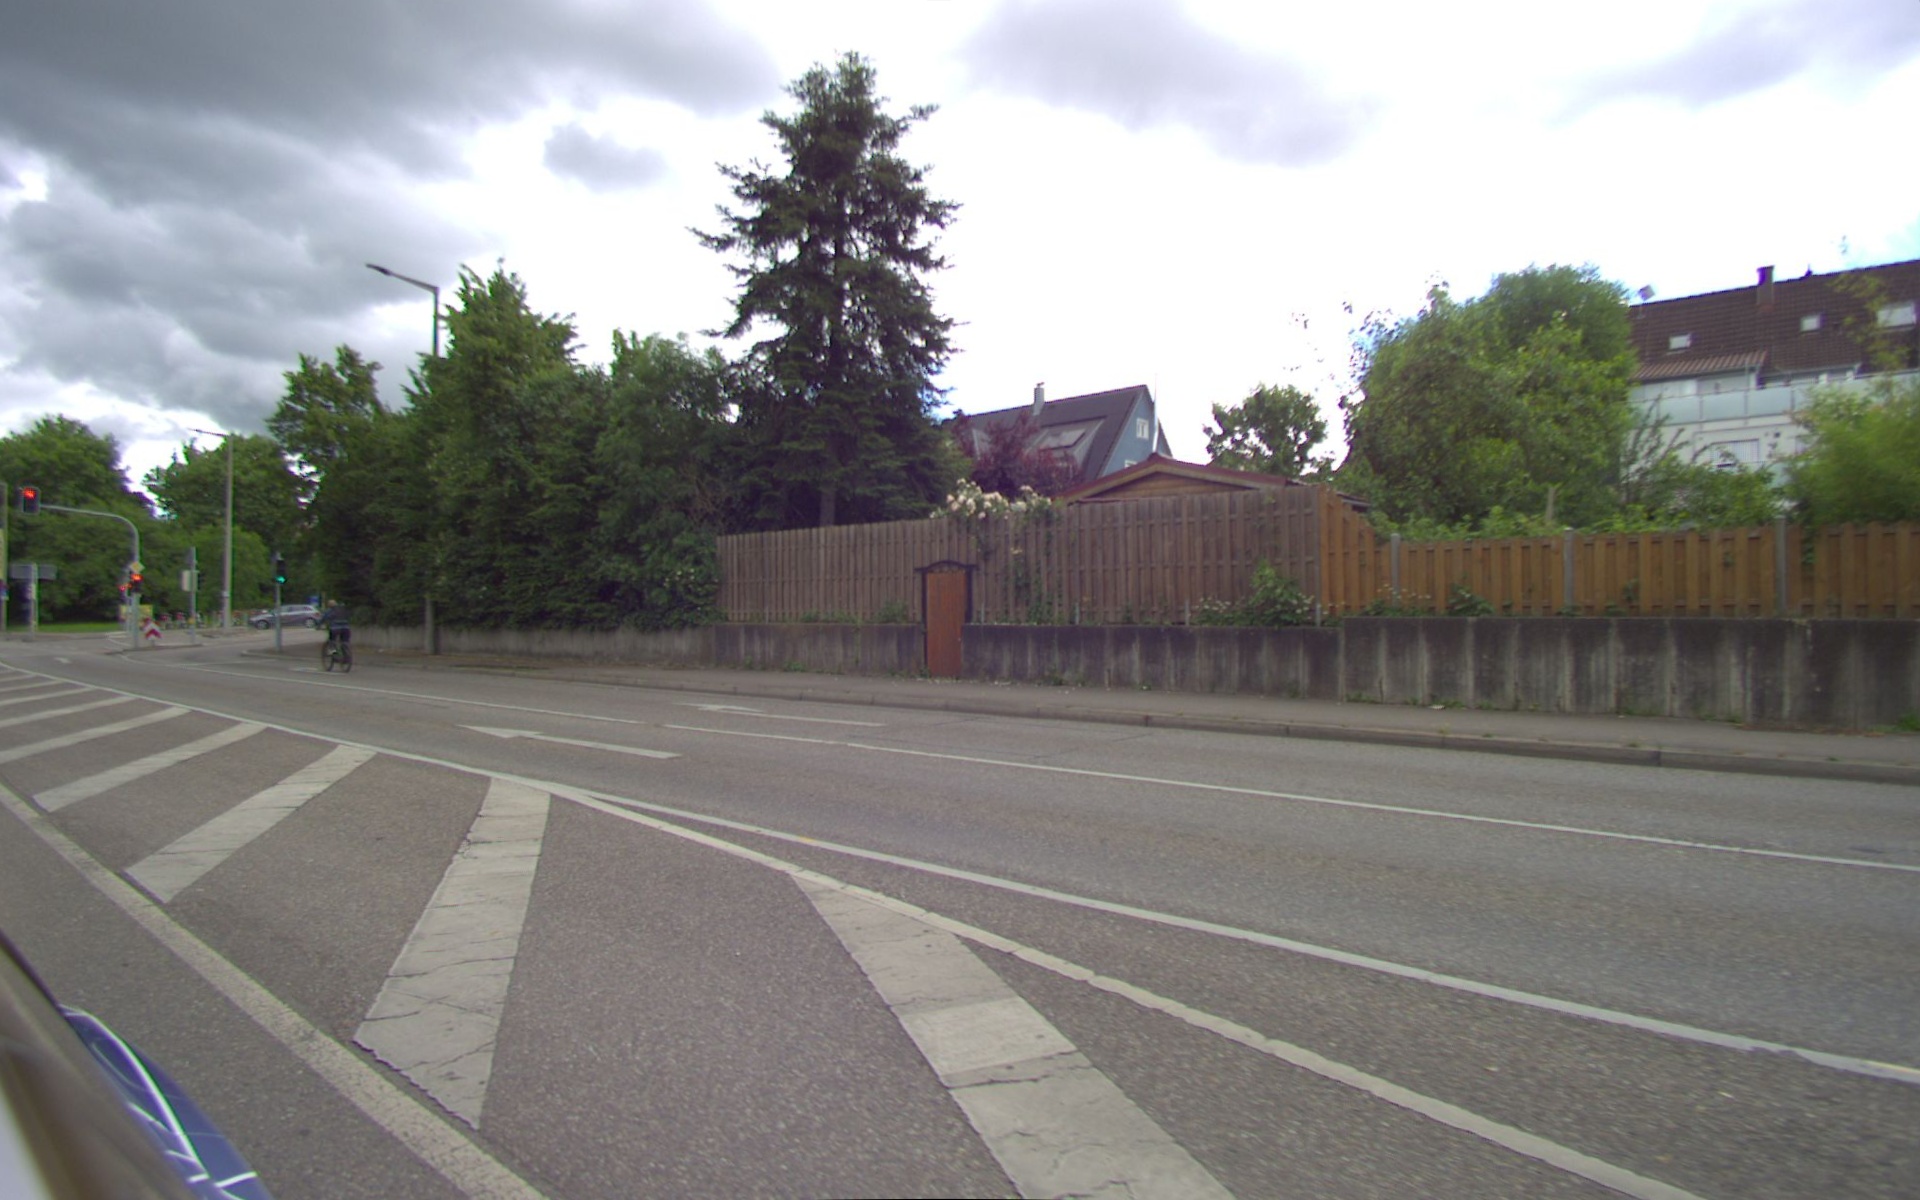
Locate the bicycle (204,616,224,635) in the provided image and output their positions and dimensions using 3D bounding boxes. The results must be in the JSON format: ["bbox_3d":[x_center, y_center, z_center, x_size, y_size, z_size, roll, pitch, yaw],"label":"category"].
[{"bbox_3d":[-53.558,1.844,72.679,0.536,1.262,1.941,-1,1,-16],"label":"bicycle"}]

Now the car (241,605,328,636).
[{"bbox_3d":[-45.472,1.336,68.228,4.665,1.867,2.006,-2,1,-28],"label":"car"}]

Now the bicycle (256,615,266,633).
[{"bbox_3d":[-51.146,1.774,74.050,0.536,1.262,1.941,-1,1,-33],"label":"bicycle"}]

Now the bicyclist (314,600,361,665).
[{"bbox_3d":[-15.289,0.788,24.849,0.976,1.546,0.636,-1,0,36],"label":"bicyclist"}]

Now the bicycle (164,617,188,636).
[{"bbox_3d":[-55.530,1.900,71.697,0.537,1.262,1.940,-1,1,-12],"label":"bicycle"}]

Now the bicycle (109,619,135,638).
[{"bbox_3d":[-58.591,1.971,70.763,0.537,1.262,1.940,-1,1,-12],"label":"bicycle"}]

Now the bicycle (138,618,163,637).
[{"bbox_3d":[-57.087,1.932,71.390,0.537,1.262,1.940,-1,1,-12],"label":"bicycle"}]

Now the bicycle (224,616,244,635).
[{"bbox_3d":[-52.465,1.816,73.186,0.536,1.262,1.941,-1,1,-16],"label":"bicycle"}]

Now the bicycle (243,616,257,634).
[{"bbox_3d":[-51.730,1.793,73.735,0.536,1.262,1.942,-1,1,-27],"label":"bicycle"}]

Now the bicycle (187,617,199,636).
[{"bbox_3d":[-54.656,1.874,72.134,0.536,1.262,1.941,-1,1,-33],"label":"bicycle"}]

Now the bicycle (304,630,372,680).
[{"bbox_3d":[-15.311,1.339,24.887,2.143,1.154,0.636,-1,0,36],"label":"bicycle"}]

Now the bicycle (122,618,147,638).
[{"bbox_3d":[-57.961,1.954,71.053,0.537,1.262,1.940,-1,1,-12],"label":"bicycle"}]
